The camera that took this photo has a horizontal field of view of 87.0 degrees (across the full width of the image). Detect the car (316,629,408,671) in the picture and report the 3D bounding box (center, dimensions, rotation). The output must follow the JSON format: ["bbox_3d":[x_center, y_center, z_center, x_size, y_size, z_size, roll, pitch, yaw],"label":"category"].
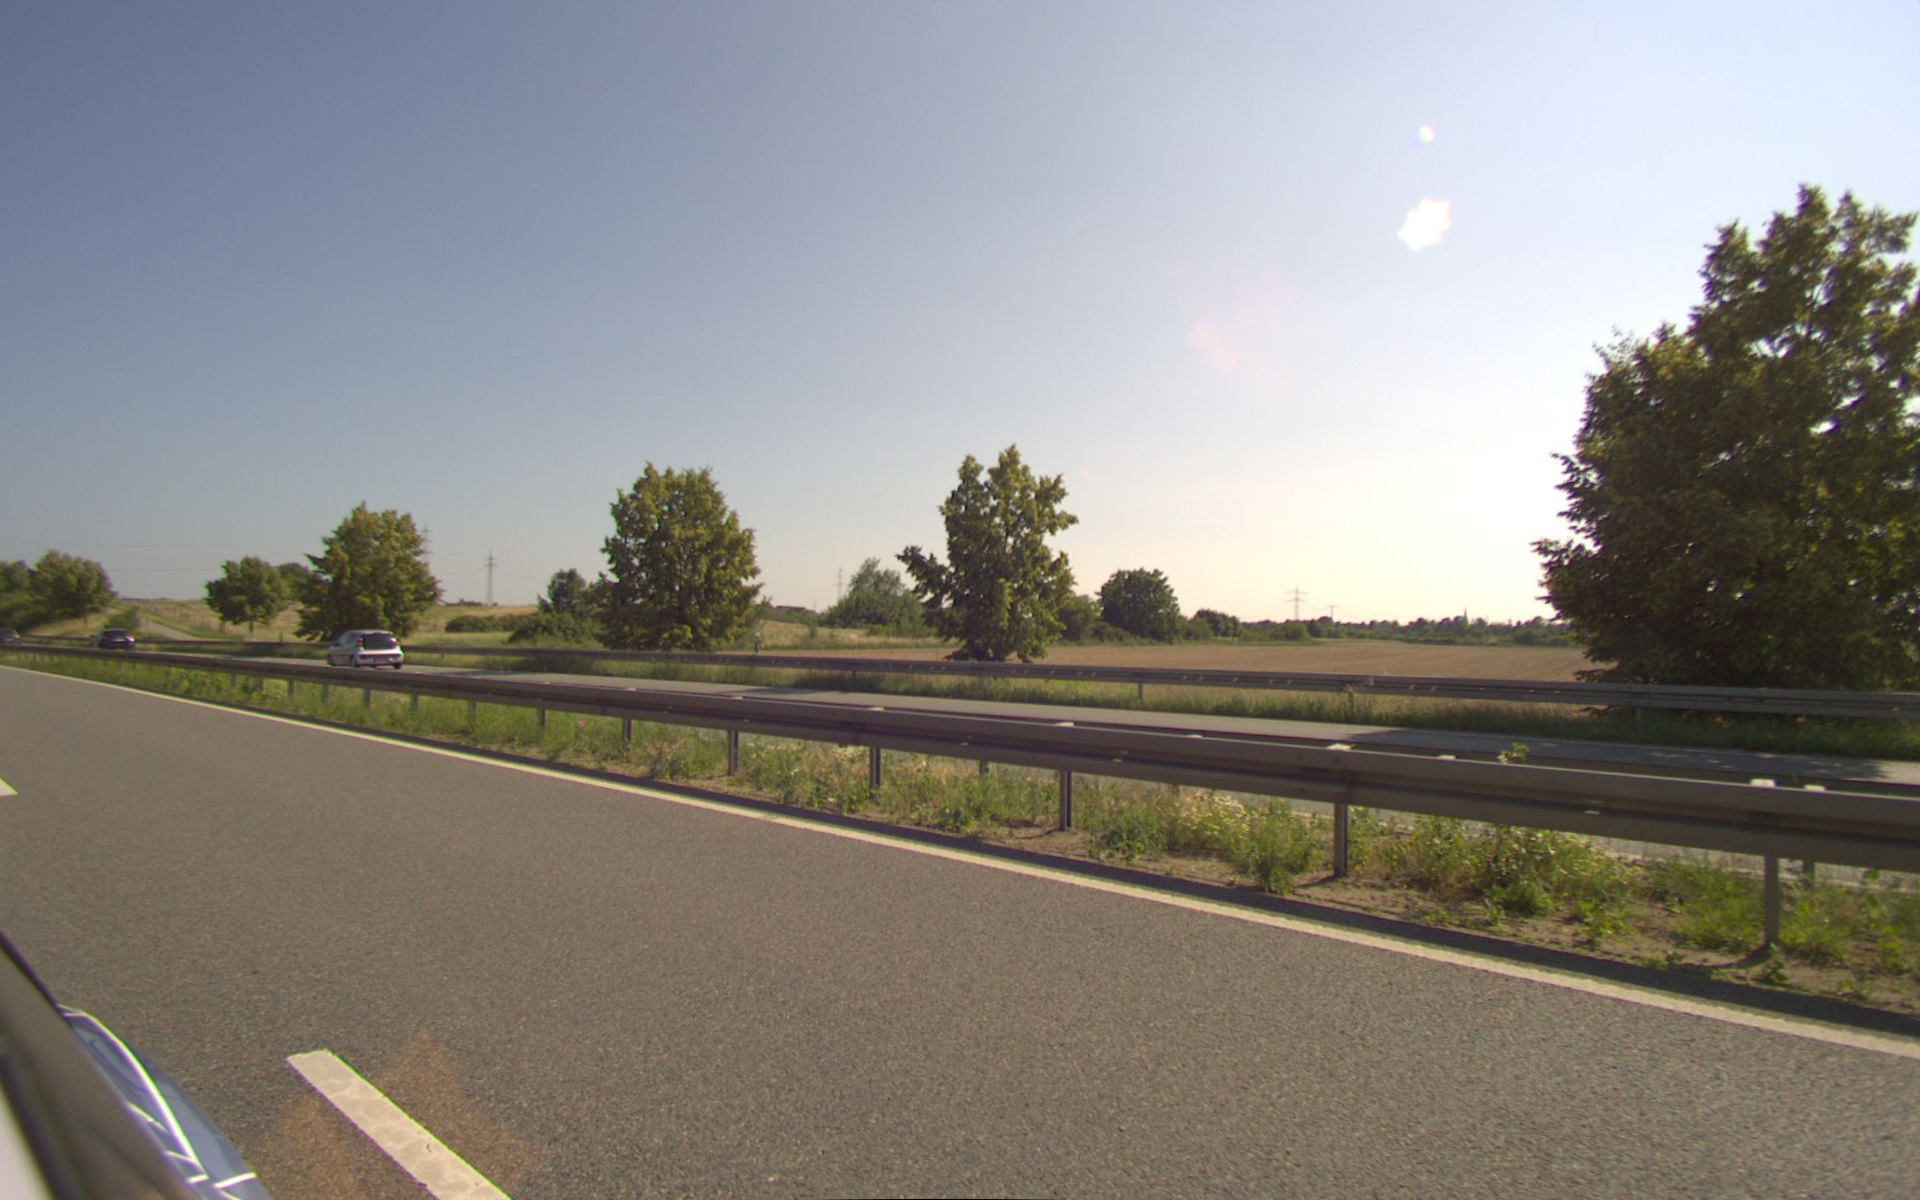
[{"bbox_3d":[-21.937,1.795,37.067,3.936,1.448,1.673,-1,-1,40],"label":"car"}]

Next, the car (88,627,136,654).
[{"bbox_3d":[-51.703,2.472,61.664,4.243,1.553,1.672,-2,-2,42],"label":"car"}]

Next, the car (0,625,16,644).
[{"bbox_3d":[-83.665,3.045,88.160,4.558,1.565,1.635,-2,0,41],"label":"car"}]
